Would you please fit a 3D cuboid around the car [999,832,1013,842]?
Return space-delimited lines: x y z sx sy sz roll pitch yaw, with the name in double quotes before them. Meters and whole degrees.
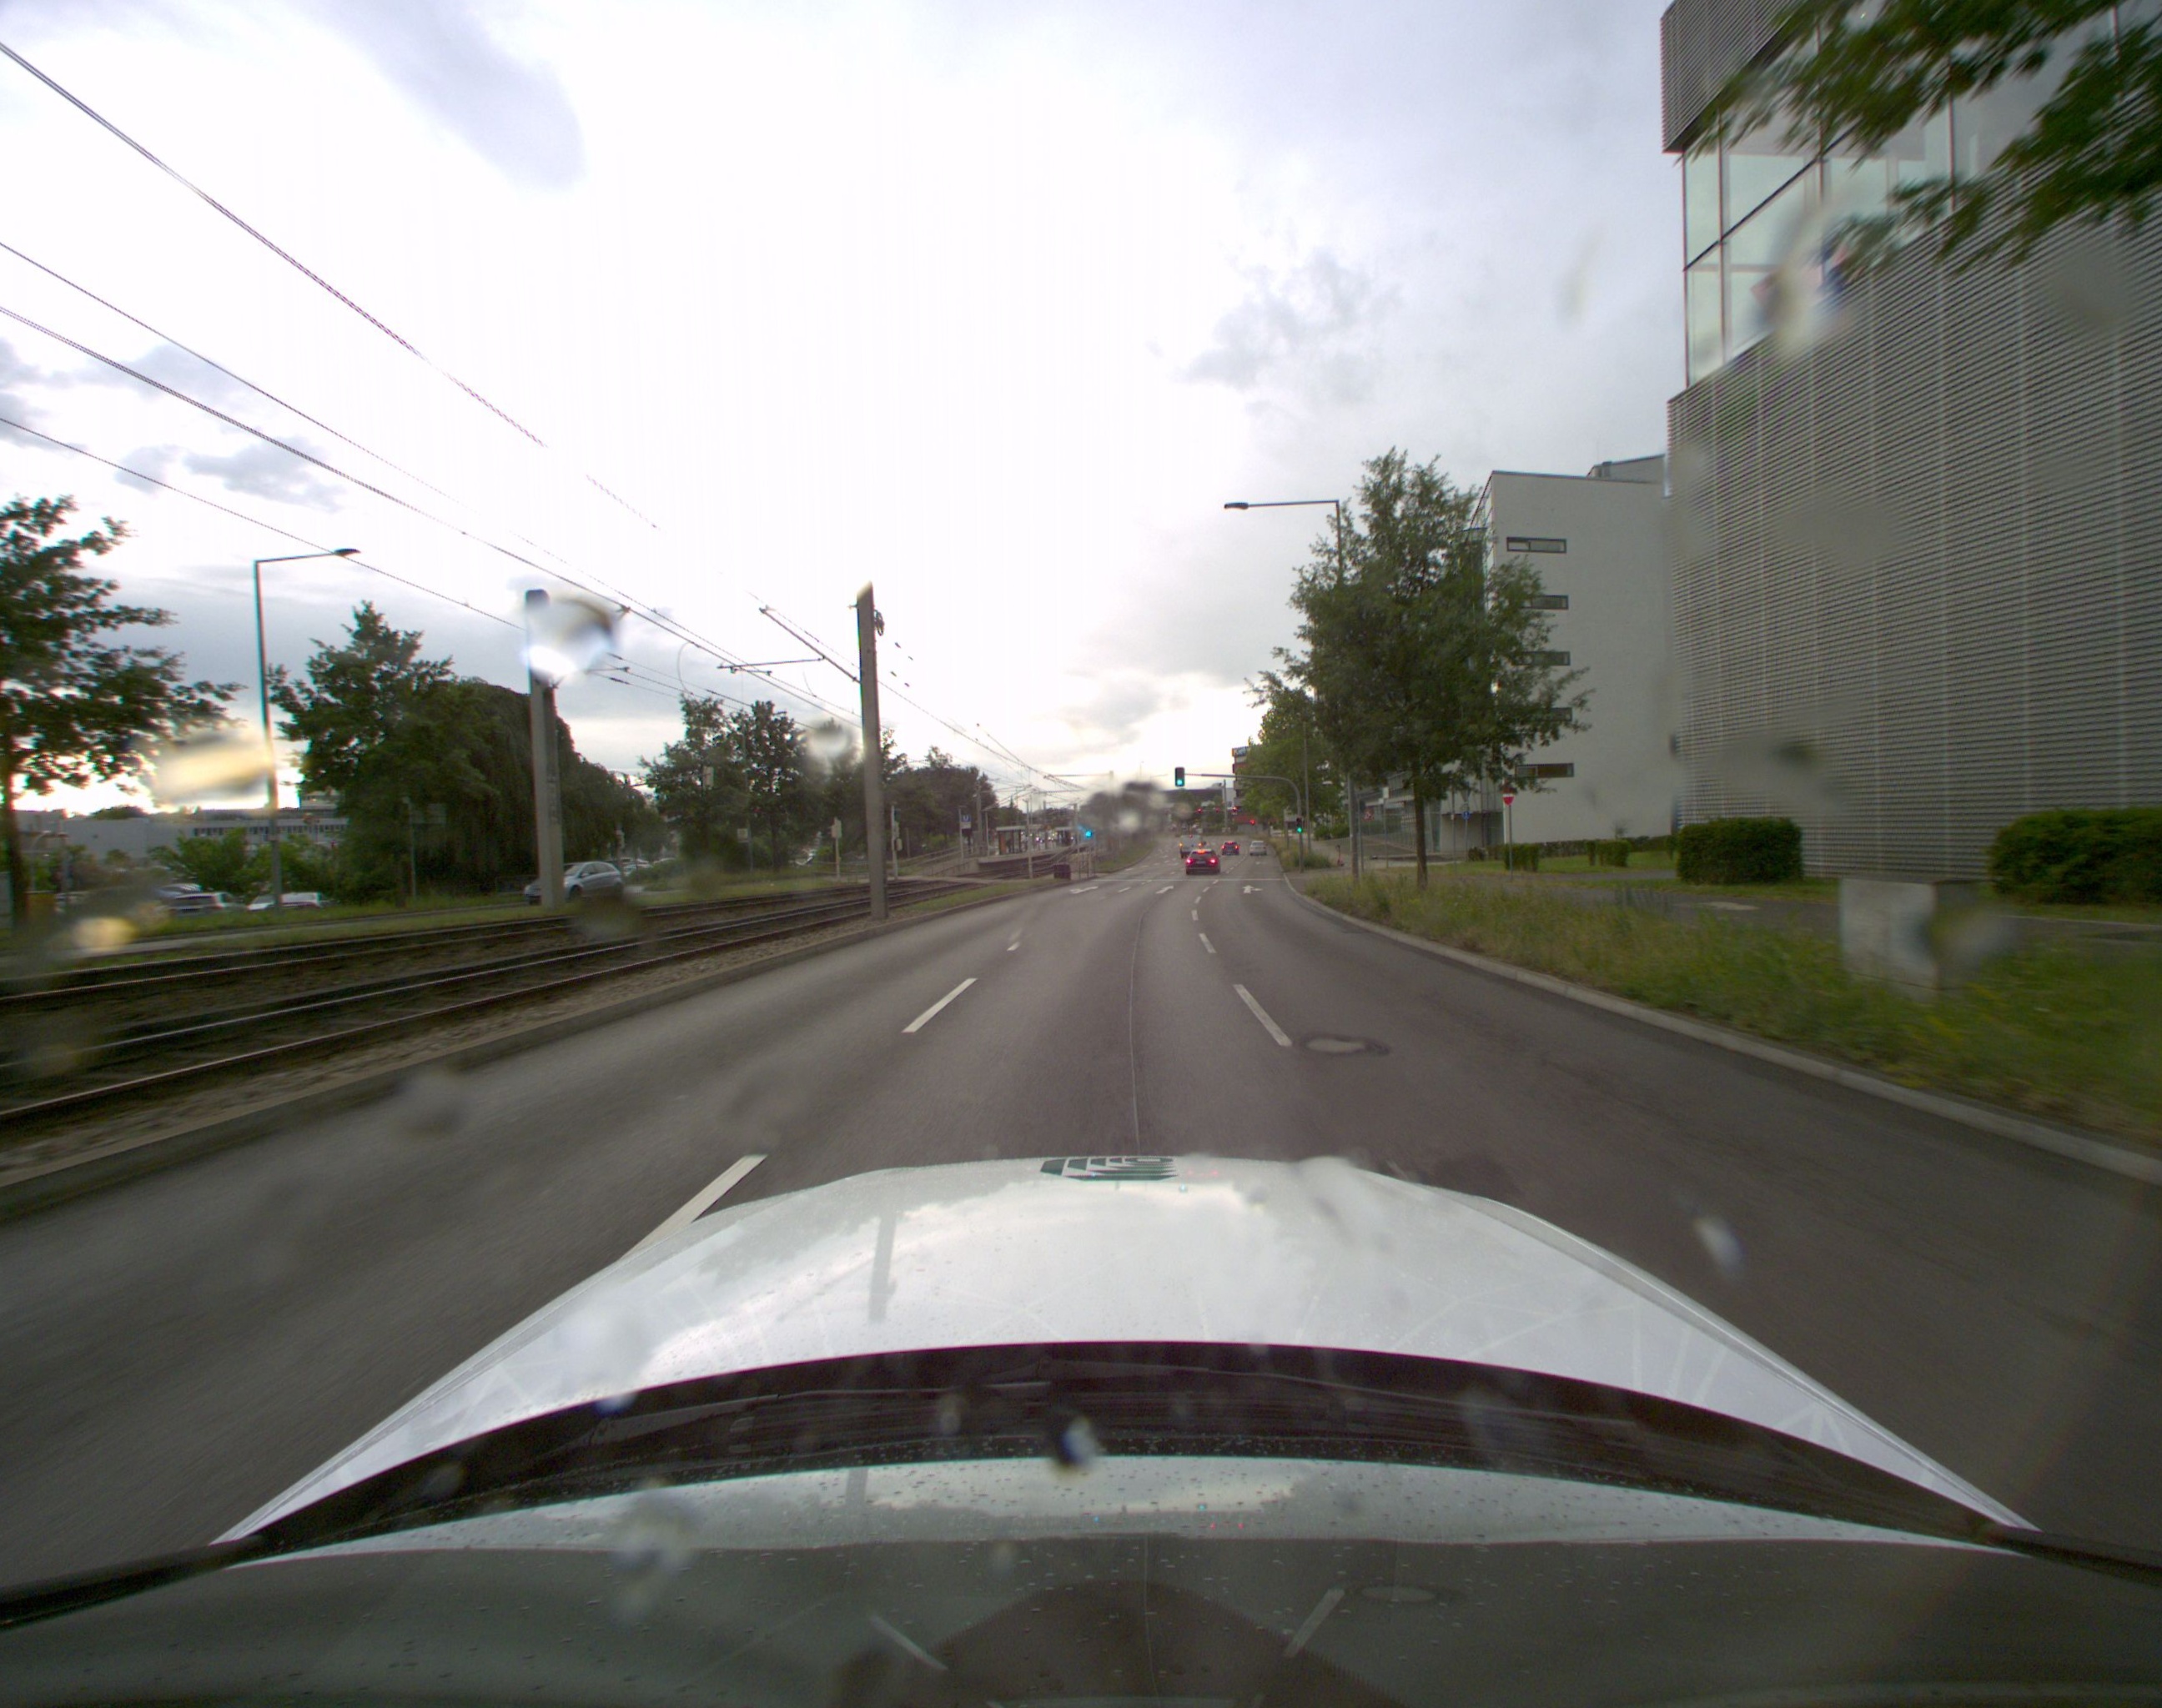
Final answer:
"car" -17.662 -3.953 191.465 2.002 2.014 3.969 0 -2 -23

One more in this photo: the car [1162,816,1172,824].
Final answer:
"car" 23.848 -9.484 225.957 1.989 2.014 3.995 -1 -2 -3

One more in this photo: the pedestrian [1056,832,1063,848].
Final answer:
"pedestrian" -2.922 -1.899 111.298 0.684 2.080 0.717 -1 1 13

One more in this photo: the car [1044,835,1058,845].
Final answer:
"car" -7.149 -3.332 194.055 2.002 2.014 3.969 0 -2 -23

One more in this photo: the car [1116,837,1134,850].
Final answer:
"car" 5.927 -1.467 109.413 1.982 1.452 3.858 -1 4 8

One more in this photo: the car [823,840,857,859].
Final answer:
"car" -26.517 -0.470 89.689 1.981 2.014 4.012 -1 -1 11

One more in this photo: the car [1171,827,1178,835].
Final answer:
"car" 27.674 -6.882 241.570 1.810 2.014 3.473 -1 -2 3

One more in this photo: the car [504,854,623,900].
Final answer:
"car" -20.478 0.872 32.448 1.985 1.679 4.003 -1 0 3

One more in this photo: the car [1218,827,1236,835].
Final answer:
"car" 33.505 -5.330 186.999 2.035 1.623 3.959 -2 1 -32

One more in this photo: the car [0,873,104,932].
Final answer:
"car" -31.329 1.392 23.245 1.987 1.651 4.000 -1 -2 1

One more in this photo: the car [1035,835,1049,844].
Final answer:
"car" -9.084 -3.371 191.427 2.002 2.014 3.969 0 -2 -23

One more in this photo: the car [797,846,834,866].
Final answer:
"car" -27.502 0.216 84.505 1.981 2.014 4.012 -1 -1 11

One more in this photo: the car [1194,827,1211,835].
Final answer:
"car" 29.309 -5.559 196.614 2.007 2.013 3.959 0 1 -33

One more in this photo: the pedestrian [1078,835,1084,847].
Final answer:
"pedestrian" -0.038 -2.033 125.069 0.748 1.751 0.766 -1 -2 8

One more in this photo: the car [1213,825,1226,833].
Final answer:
"car" 37.282 -6.655 219.219 1.998 2.014 3.977 -1 -2 -17

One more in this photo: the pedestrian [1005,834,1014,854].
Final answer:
"pedestrian" -6.761 -0.905 77.216 0.633 1.854 0.752 -1 -2 7

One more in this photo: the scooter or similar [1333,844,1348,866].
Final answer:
"scooter or similar" 14.968 0.055 46.990 0.455 1.263 1.339 -4 0 5

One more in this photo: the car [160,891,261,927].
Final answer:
"car" -39.536 2.455 37.115 1.760 1.494 3.966 0 -2 -25

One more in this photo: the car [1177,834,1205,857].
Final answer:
"car" 10.951 -0.857 80.776 2.496 2.177 5.164 -1 1 10

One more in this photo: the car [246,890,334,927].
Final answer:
"car" -36.629 2.475 37.837 2.006 1.510 3.961 0 -2 -30

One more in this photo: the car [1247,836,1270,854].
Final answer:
"car" 18.313 -0.950 83.957 2.010 1.769 4.010 -1 2 8

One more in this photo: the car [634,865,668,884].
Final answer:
"car" -32.877 1.570 62.234 2.007 1.415 3.958 0 -2 -33

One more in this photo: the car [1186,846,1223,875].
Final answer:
"car" 7.236 0.339 47.433 1.752 1.463 4.643 -2 1 13

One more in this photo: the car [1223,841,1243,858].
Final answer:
"car" 16.022 -0.449 86.128 2.009 1.623 4.010 -1 -2 9

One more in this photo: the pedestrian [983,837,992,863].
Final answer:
"pedestrian" -7.101 -0.282 62.000 0.546 1.953 0.664 -1 -2 4

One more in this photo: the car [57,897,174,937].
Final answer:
"car" -41.928 2.692 35.508 1.760 1.494 3.966 0 -2 -25
